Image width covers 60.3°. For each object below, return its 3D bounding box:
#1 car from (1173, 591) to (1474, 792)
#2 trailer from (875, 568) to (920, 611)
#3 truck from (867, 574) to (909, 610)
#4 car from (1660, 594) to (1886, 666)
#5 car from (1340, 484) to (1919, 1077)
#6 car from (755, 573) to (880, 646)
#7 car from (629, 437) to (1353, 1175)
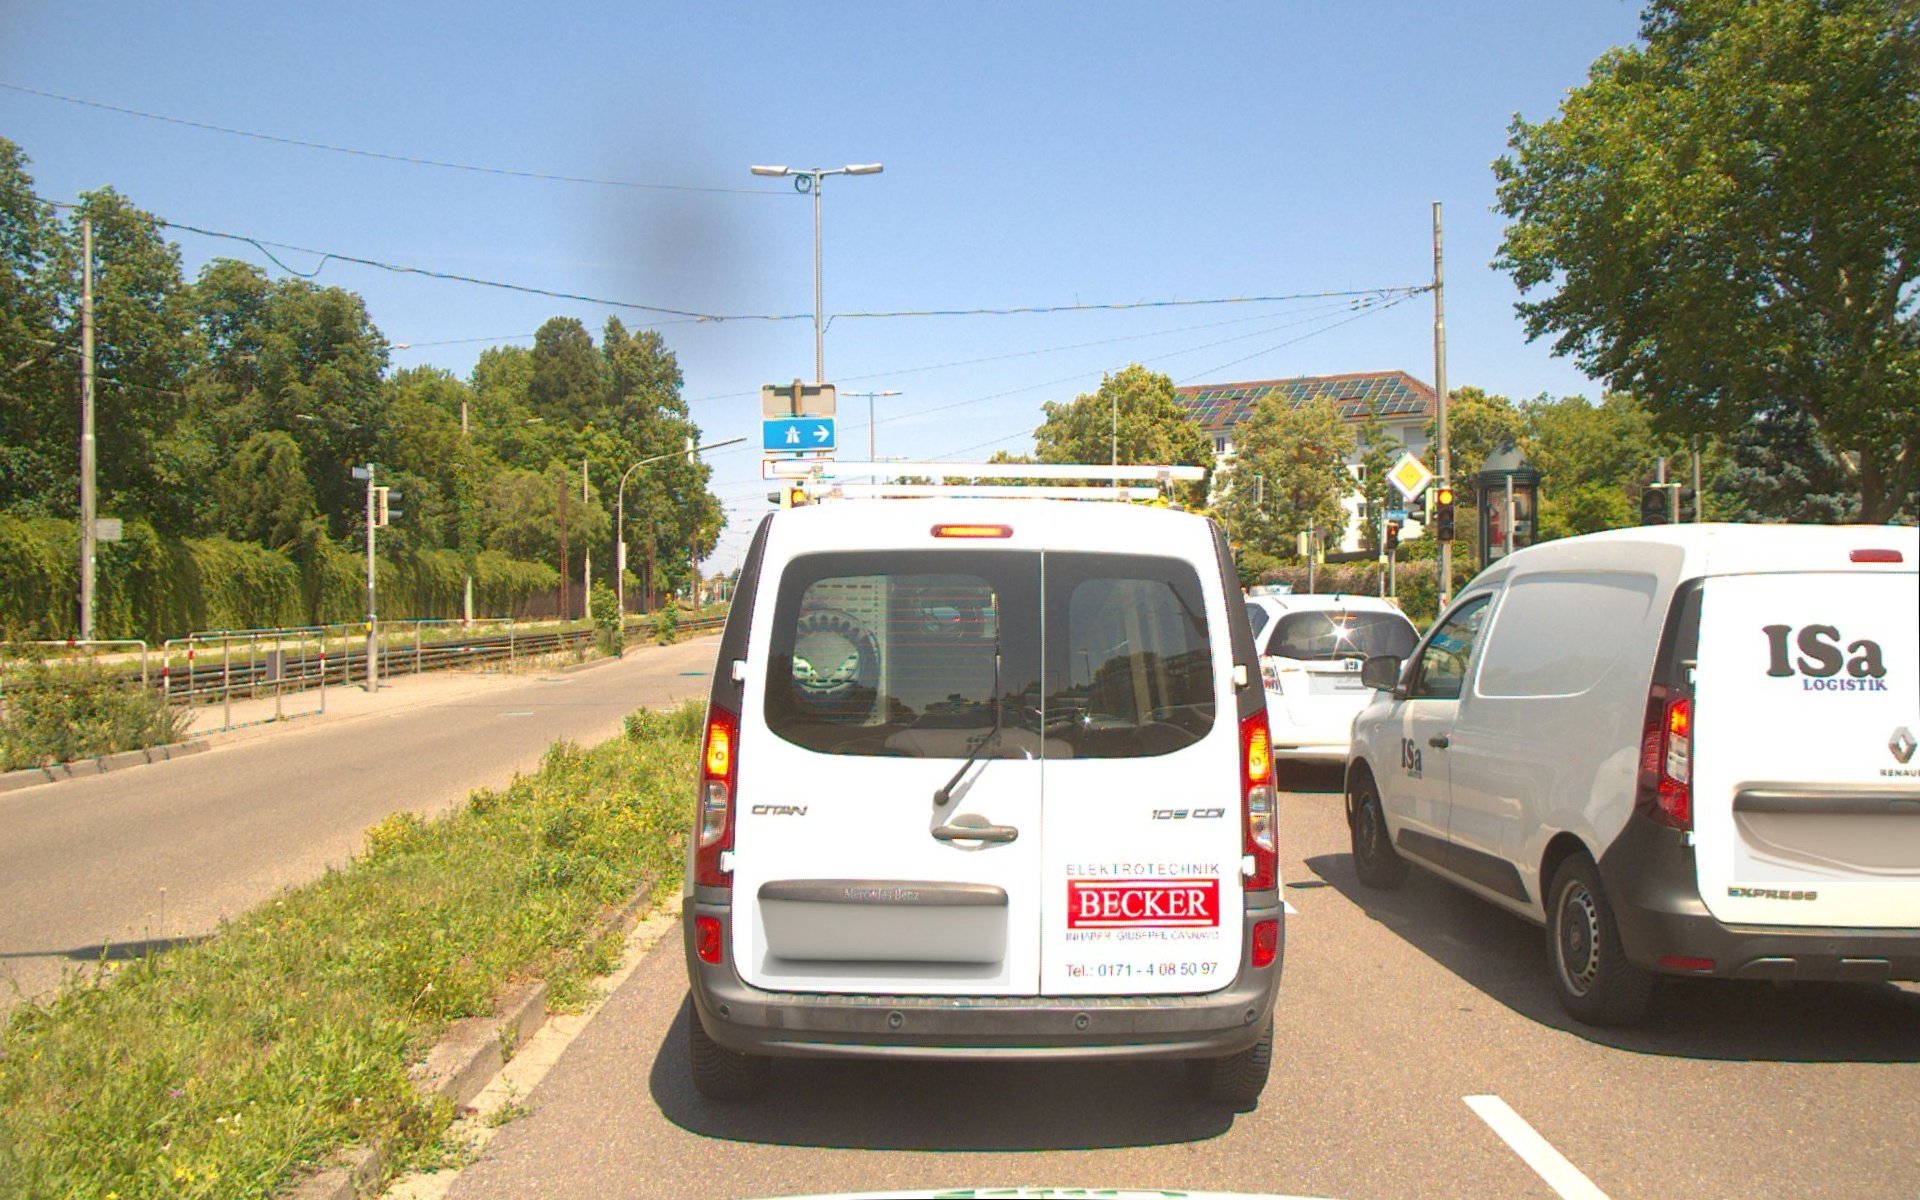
[{"bbox_3d":[3.043,0.699,14.660,1.720,1.512,3.999,1,0,-1],"label":"car"},{"bbox_3d":[-6.259,-0.987,163.313,3.462,4.121,8.959,0,0,-9],"label":"trailer"},{"bbox_3d":[-7.557,-0.833,172.191,3.509,3.696,8.793,0,0,-8],"label":"truck"},{"bbox_3d":[16.371,0.598,33.486,3.789,1.334,1.698,-2,0,13],"label":"car"},{"bbox_3d":[3.033,0.567,7.244,1.676,1.862,4.012,0,0,-2],"label":"car"},{"bbox_3d":[-4.228,0.275,48.665,1.977,2.049,3.950,0,0,-35],"label":"car"},{"bbox_3d":[0.038,0.527,6.146,1.829,1.868,3.847,1,0,-2],"label":"car"}]
